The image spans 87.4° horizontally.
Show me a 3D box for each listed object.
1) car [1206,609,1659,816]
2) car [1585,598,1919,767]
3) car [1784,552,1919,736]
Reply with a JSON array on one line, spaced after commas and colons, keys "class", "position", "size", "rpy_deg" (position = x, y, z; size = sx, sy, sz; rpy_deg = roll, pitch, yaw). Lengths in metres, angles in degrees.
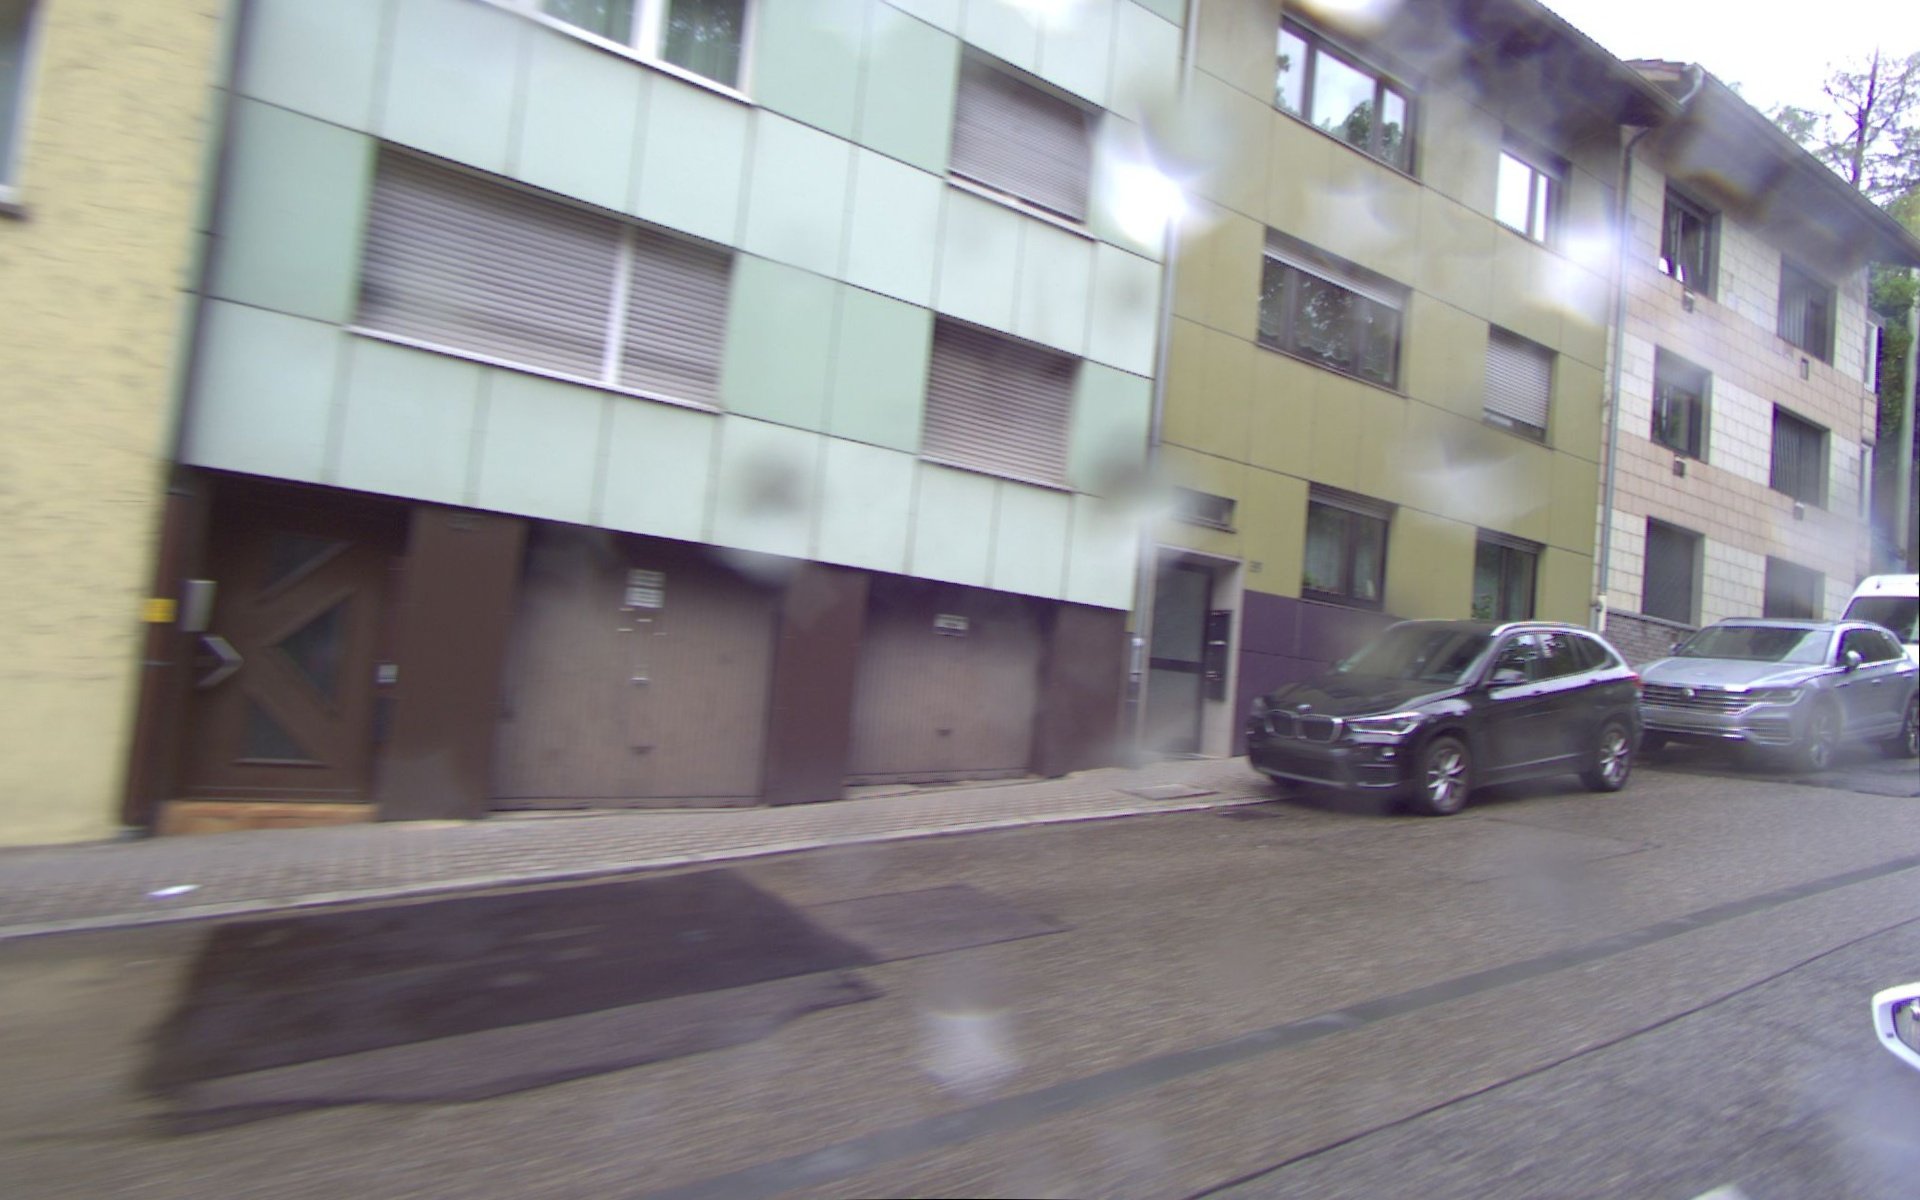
[{"class": "car", "position": [4.635, 0.923, 9.742], "size": [4.256, 1.606, 1.980], "rpy_deg": [1, -1, -31]}, {"class": "car", "position": [10.033, 0.921, 12.573], "size": [4.429, 1.778, 1.980], "rpy_deg": [1, -1, -31]}, {"class": "car", "position": [15.289, 0.659, 15.679], "size": [5.718, 2.507, 1.980], "rpy_deg": [1, -1, -31]}]
